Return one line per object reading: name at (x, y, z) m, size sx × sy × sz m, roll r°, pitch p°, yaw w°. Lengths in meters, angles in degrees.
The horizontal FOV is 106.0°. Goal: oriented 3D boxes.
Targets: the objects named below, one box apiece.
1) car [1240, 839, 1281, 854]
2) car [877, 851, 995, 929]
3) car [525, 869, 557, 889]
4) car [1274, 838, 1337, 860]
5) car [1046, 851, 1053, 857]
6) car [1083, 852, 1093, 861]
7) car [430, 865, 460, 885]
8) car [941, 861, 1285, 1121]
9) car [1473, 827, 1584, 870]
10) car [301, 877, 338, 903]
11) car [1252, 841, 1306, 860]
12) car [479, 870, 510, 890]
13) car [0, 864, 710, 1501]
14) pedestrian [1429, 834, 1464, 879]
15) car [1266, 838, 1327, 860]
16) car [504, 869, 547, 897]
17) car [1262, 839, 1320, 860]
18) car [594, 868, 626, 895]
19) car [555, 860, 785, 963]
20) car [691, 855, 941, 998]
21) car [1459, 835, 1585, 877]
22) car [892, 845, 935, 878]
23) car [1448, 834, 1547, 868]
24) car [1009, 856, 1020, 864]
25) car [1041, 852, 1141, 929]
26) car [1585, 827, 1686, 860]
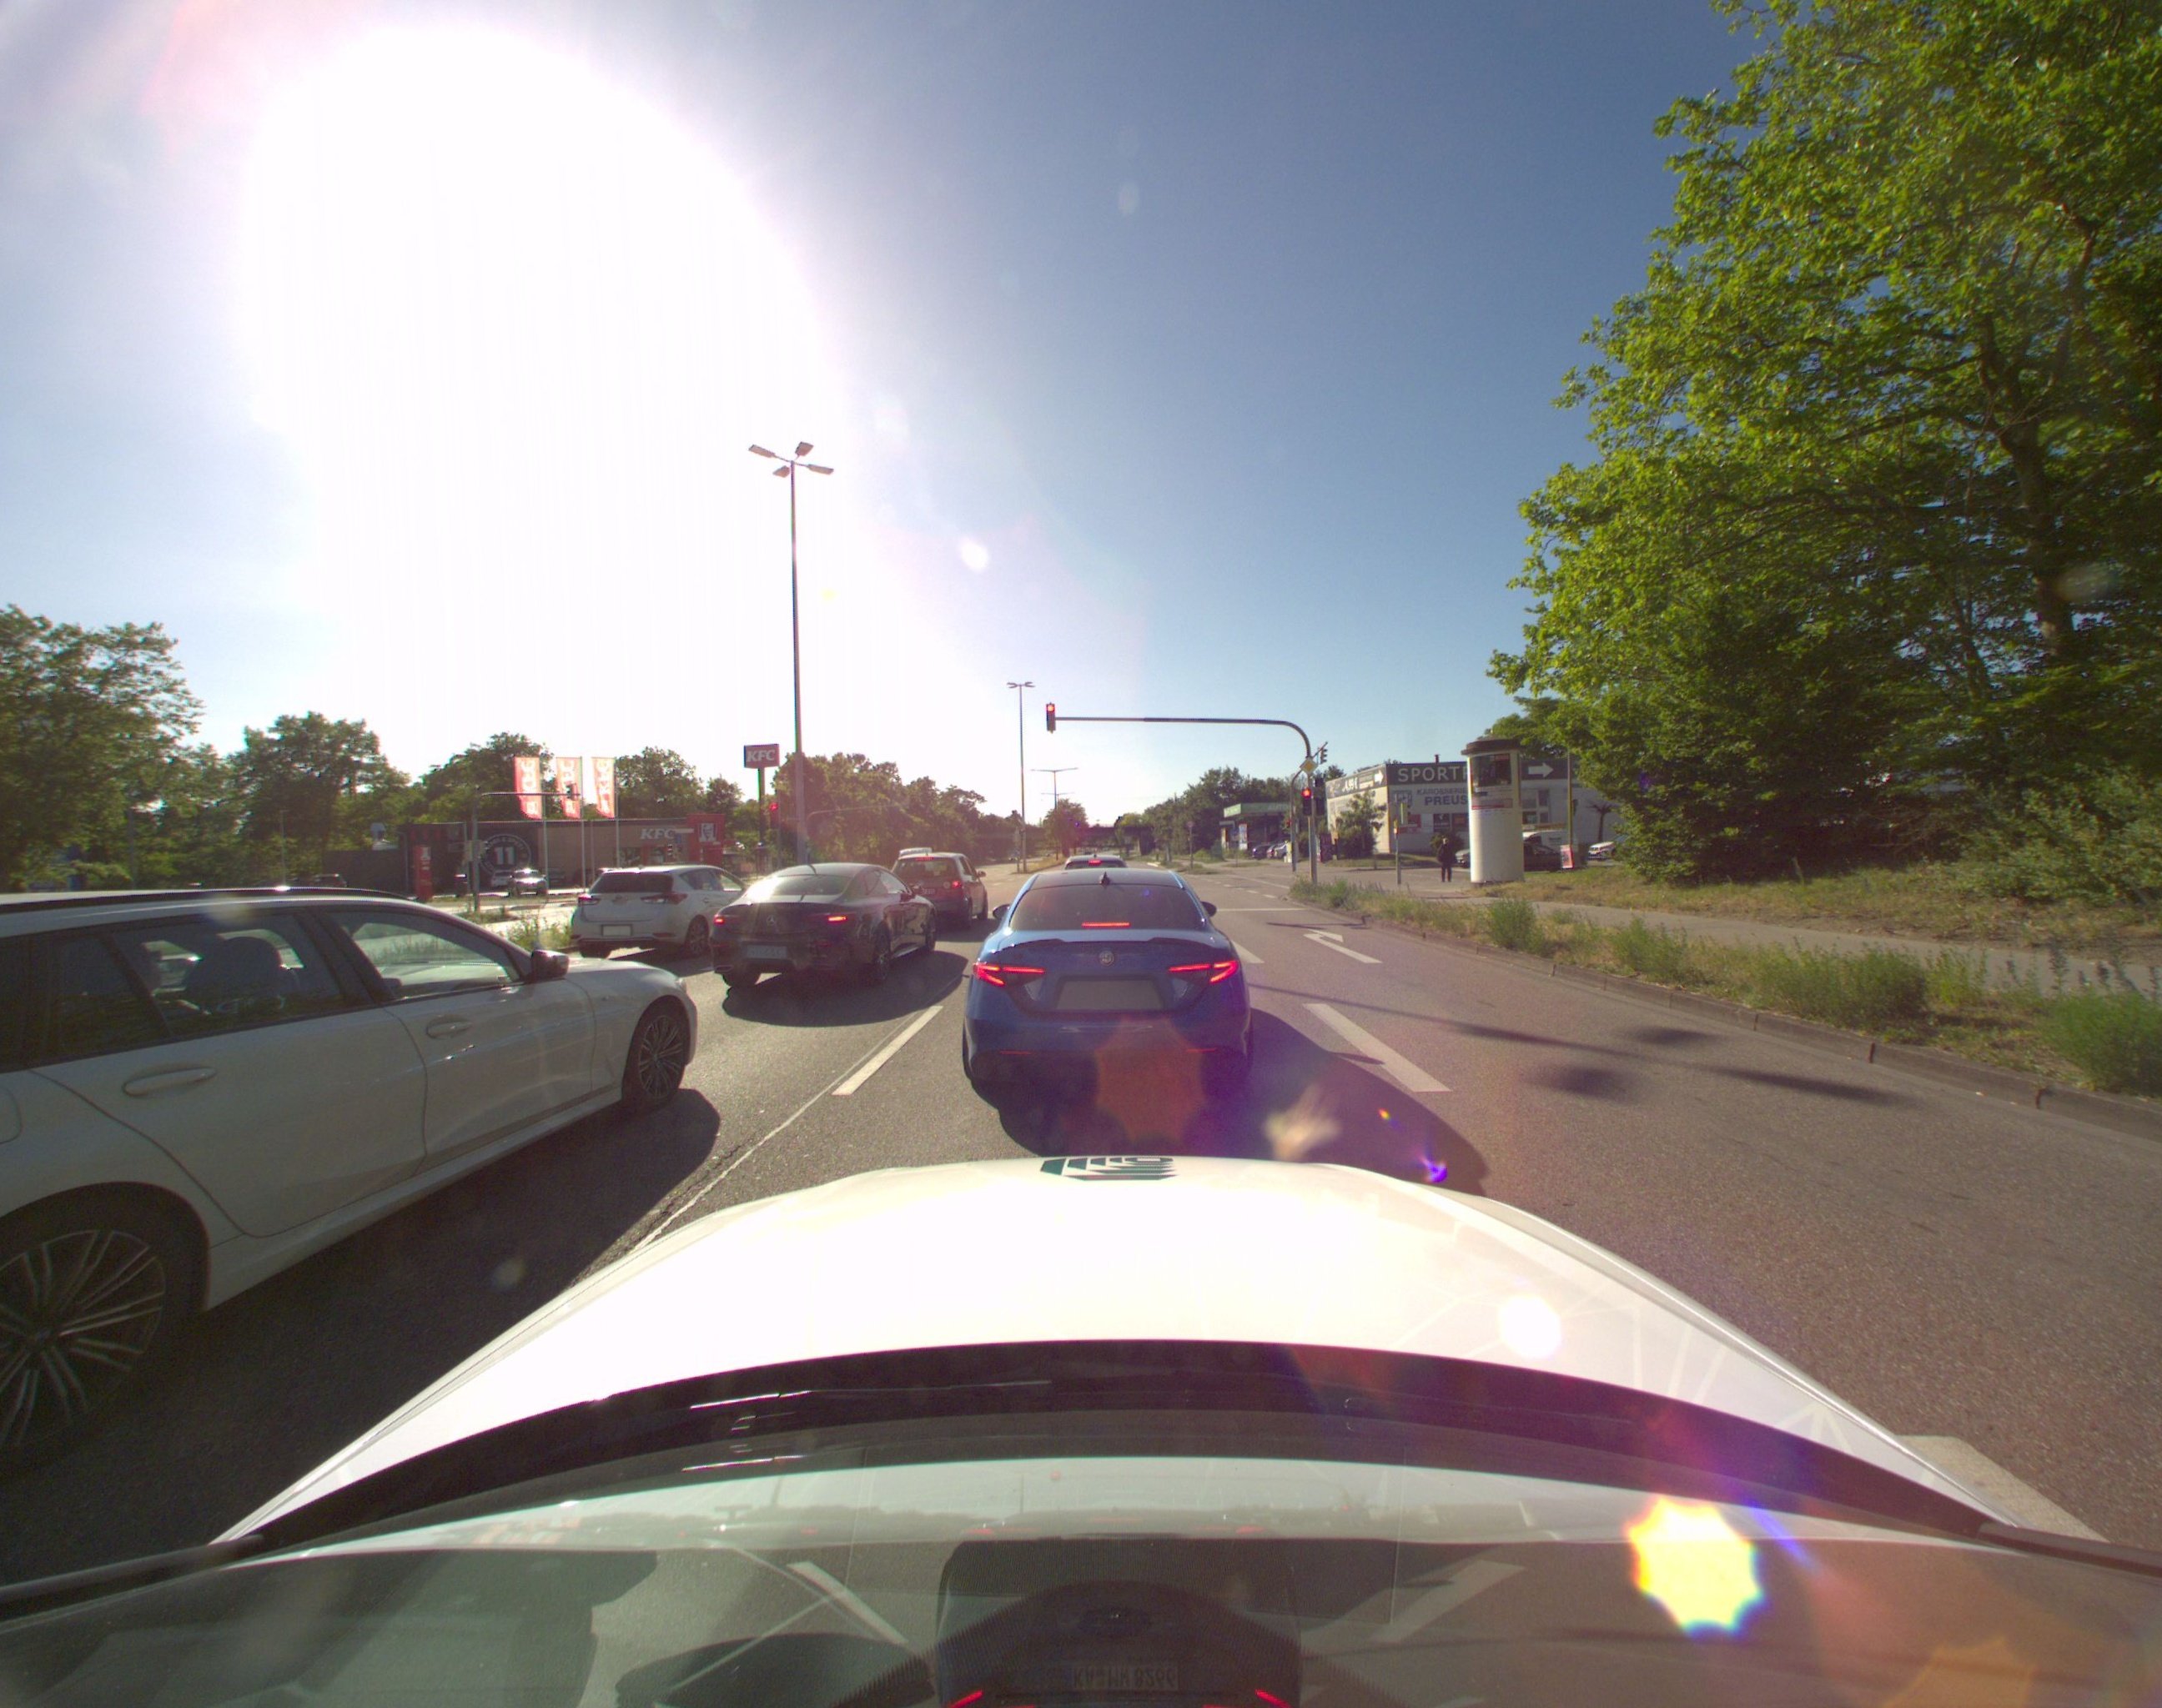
car at (21.386, -0.863, 97.000) m, size 4.532 × 1.490 × 1.766 m, roll -4°, pitch 0°, yaw 3°
car at (-3.024, 0.716, 17.897) m, size 1.753 × 1.490 × 4.403 m, roll 0°, pitch -1°, yaw 1°
car at (-43.147, 1.957, 65.042) m, size 1.670 × 1.471 × 3.872 m, roll 0°, pitch -1°, yaw -40°
car at (17.702, -0.411, 64.307) m, size 4.470 × 1.454 × 1.860 m, roll -4°, pitch 0°, yaw 3°
car at (-8.793, -0.079, 226.869) m, size 1.752 × 1.490 × 4.480 m, roll -3°, pitch 0°, yaw 2°
car at (1.527, 0.569, 173.573) m, size 1.884 × 1.816 × 4.001 m, roll 0°, pitch -1°, yaw 2°
car at (-47.639, 1.564, 60.973) m, size 1.670 × 1.471 × 3.872 m, roll 0°, pitch -1°, yaw -40°
car at (0.208, 0.774, 6.699) m, size 1.889 × 1.418 × 4.403 m, roll 0°, pitch -1°, yaw 1°
car at (21.570, -0.286, 39.364) m, size 4.367 × 1.801 × 1.765 m, roll -3°, pitch 1°, yaw 0°
car at (-52.373, 2.462, 56.078) m, size 1.670 × 1.673 × 3.897 m, roll 0°, pitch -1°, yaw -40°
car at (17.944, -0.340, 73.891) m, size 4.470 × 1.454 × 1.860 m, roll -4°, pitch 0°, yaw 3°
car at (-45.639, 2.025, 63.389) m, size 1.670 × 1.471 × 3.872 m, roll 0°, pitch -1°, yaw -40°
car at (-3.426, 0.799, 3.289) m, size 1.779 × 1.490 × 4.403 m, roll 0°, pitch -1°, yaw 1°
pedestrian at (14.187, 0.092, 31.637) m, size 0.922 × 1.735 × 0.939 m, roll 0°, pitch -1°, yaw 1°
car at (17.708, -0.398, 67.088) m, size 4.470 × 1.454 × 1.860 m, roll -4°, pitch 0°, yaw 3°
car at (-37.337, 1.939, 54.844) m, size 2.005 × 1.765 × 4.315 m, roll 0°, pitch -1°, yaw -29°
car at (17.985, -0.368, 69.837) m, size 4.470 × 1.454 × 1.860 m, roll -4°, pitch 0°, yaw 3°
car at (-33.668, 1.935, 58.324) m, size 1.920 × 1.752 × 4.315 m, roll 0°, pitch -1°, yaw -29°
car at (-6.748, 0.854, 13.955) m, size 1.753 × 1.490 × 4.197 m, roll 0°, pitch -1°, yaw 1°
car at (-3.170, 0.781, 10.794) m, size 1.790 × 1.490 × 4.476 m, roll 0°, pitch -1°, yaw 1°
car at (18.932, 0.097, 35.128) m, size 4.392 × 1.490 × 1.766 m, roll -4°, pitch 0°, yaw 3°
car at (-13.725, 0.606, 67.101) m, size 2.015 × 2.447 × 5.823 m, roll -5°, pitch 0°, yaw 1°
car at (21.766, -0.187, 42.698) m, size 4.273 × 1.549 × 1.765 m, roll -3°, pitch 1°, yaw 0°
car at (-13.551, 1.167, 166.721) m, size 1.752 × 1.490 × 4.480 m, roll -3°, pitch 0°, yaw 2°
car at (0.218, 0.696, 17.342) m, size 1.844 × 1.418 × 4.403 m, roll 0°, pitch -1°, yaw 1°
car at (29.103, -0.531, 42.823) m, size 4.028 × 1.490 × 1.782 m, roll -3°, pitch 0°, yaw -1°
